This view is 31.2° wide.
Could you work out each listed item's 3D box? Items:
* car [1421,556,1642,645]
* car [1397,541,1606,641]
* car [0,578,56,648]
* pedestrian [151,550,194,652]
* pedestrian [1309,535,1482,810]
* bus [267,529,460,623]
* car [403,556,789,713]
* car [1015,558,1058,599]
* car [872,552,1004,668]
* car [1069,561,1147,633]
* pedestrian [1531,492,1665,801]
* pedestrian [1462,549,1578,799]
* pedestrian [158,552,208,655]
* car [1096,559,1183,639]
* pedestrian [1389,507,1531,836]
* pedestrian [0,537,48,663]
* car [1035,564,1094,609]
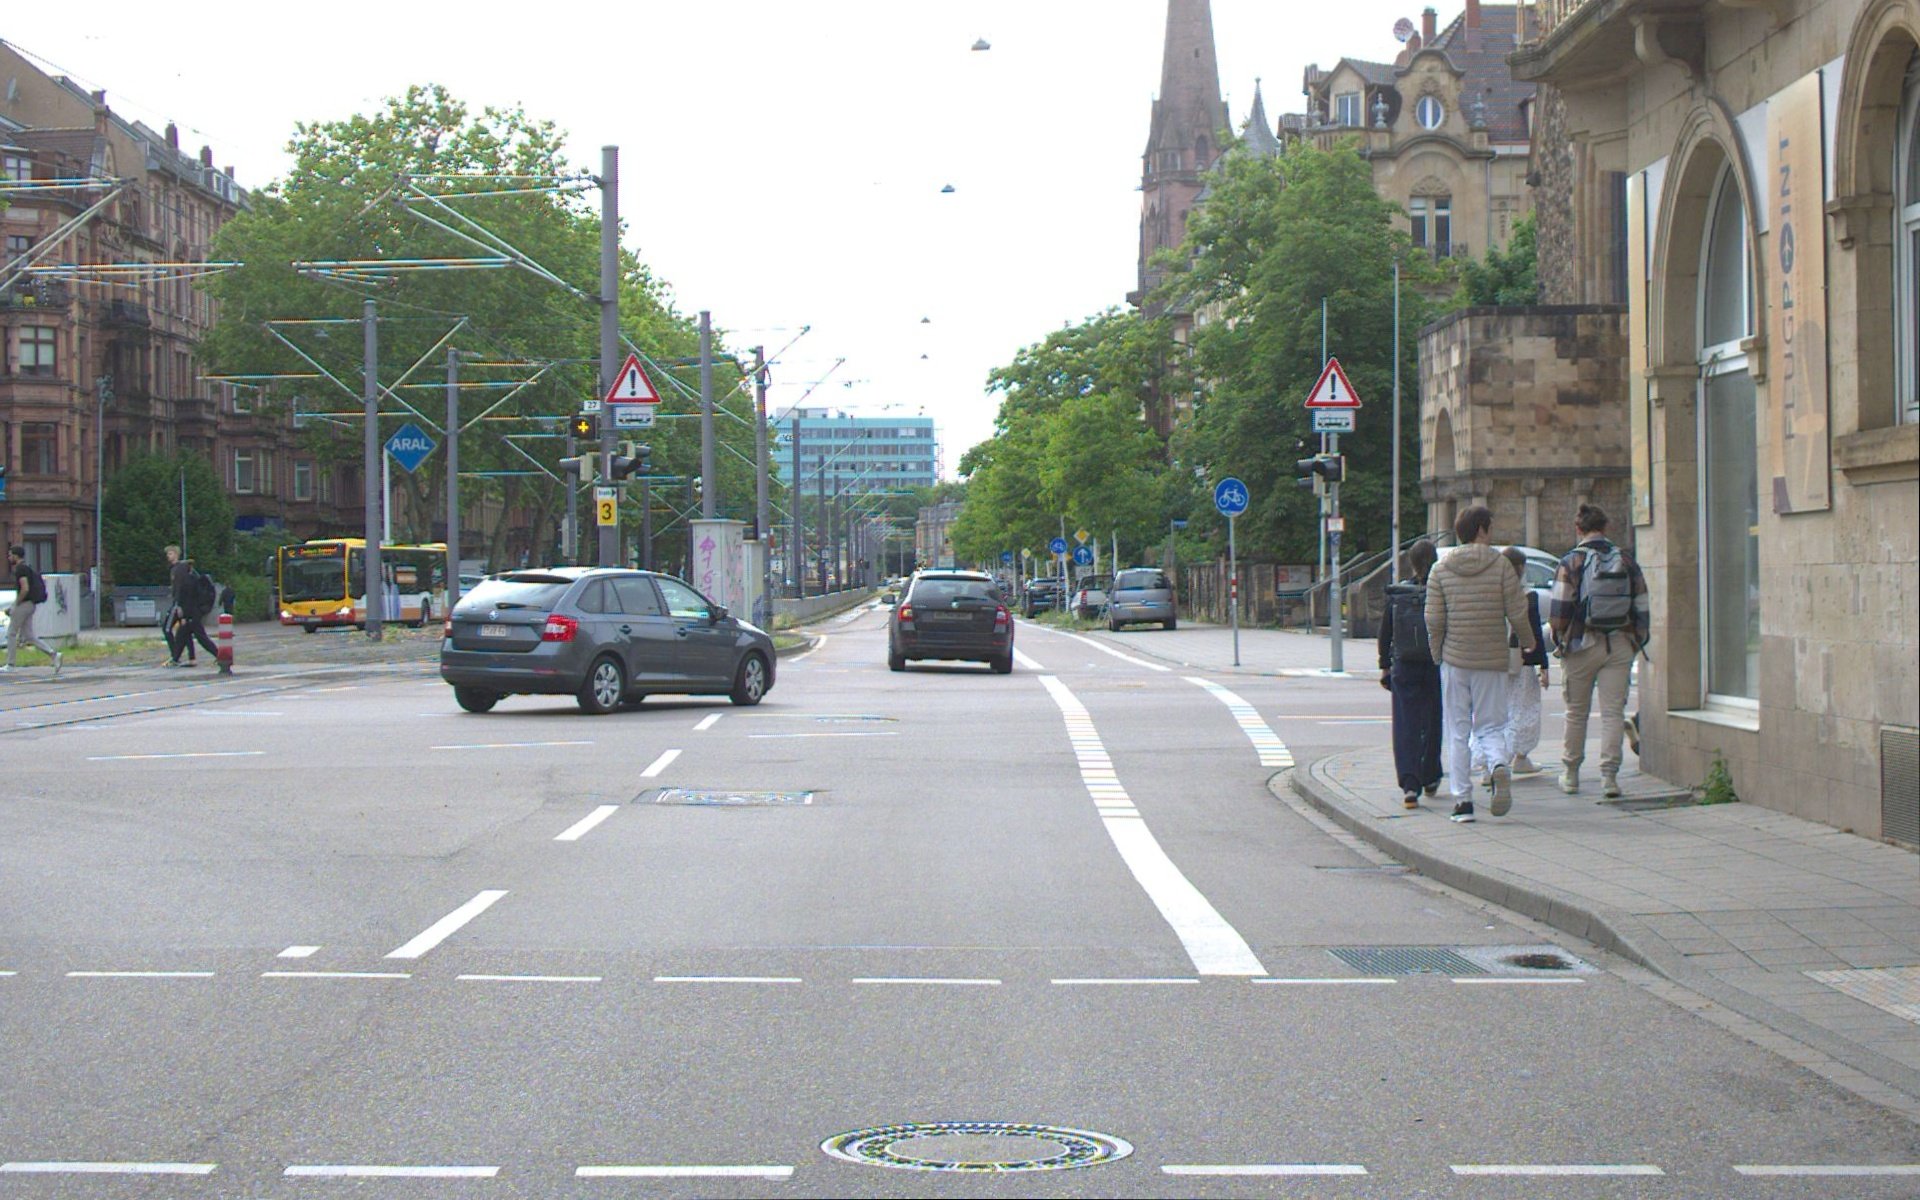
[{"bbox_3d":[10.762,-0.001,64.906,3.799,1.595,2.000,1,0,0],"label":"car"},{"bbox_3d":[10.725,-0.179,68.315,3.799,1.897,2.000,1,0,0],"label":"car"},{"bbox_3d":[-22.256,0.278,79.148,1.894,1.552,3.836,1,0,-1],"label":"car"},{"bbox_3d":[-11.958,0.012,52.217,0.545,1.532,0.466,1,0,-5],"label":"pedestrian"},{"bbox_3d":[2.699,0.435,21.268,0.627,1.647,0.994,1,0,37],"label":"pedestrian"},{"bbox_3d":[-20.788,-0.827,120.852,3.085,3.101,13.091,1,0,7],"label":"bus"},{"bbox_3d":[-3.601,0.325,34.685,1.838,1.464,3.986,1,0,31],"label":"car"},{"bbox_3d":[3.808,-1.070,172.426,1.993,2.007,4.000,1,0,-1],"label":"car"},{"bbox_3d":[-0.328,0.122,49.946,1.806,1.581,4.341,1,0,-1],"label":"car"},{"bbox_3d":[4.273,-0.106,99.669,1.993,2.007,4.000,1,0,-1],"label":"car"},{"bbox_3d":[3.816,0.272,20.619,0.626,1.772,1.134,-3,0,7],"label":"pedestrian"},{"bbox_3d":[3.643,0.471,22.399,0.700,1.587,0.831,1,0,8],"label":"pedestrian"},{"bbox_3d":[-11.664,0.046,51.644,0.653,1.532,0.466,1,0,-5],"label":"pedestrian"},{"bbox_3d":[4.680,-0.043,90.058,1.993,2.007,4.000,1,0,-1],"label":"car"},{"bbox_3d":[2.845,0.392,19.503,0.583,1.807,1.014,1,0,19],"label":"pedestrian"},{"bbox_3d":[-13.399,-0.001,49.207,0.573,1.788,0.519,1,0,-5],"label":"pedestrian"},{"bbox_3d":[3.894,-0.500,128.482,1.993,1.602,4.164,-2,0,-1],"label":"car"}]
